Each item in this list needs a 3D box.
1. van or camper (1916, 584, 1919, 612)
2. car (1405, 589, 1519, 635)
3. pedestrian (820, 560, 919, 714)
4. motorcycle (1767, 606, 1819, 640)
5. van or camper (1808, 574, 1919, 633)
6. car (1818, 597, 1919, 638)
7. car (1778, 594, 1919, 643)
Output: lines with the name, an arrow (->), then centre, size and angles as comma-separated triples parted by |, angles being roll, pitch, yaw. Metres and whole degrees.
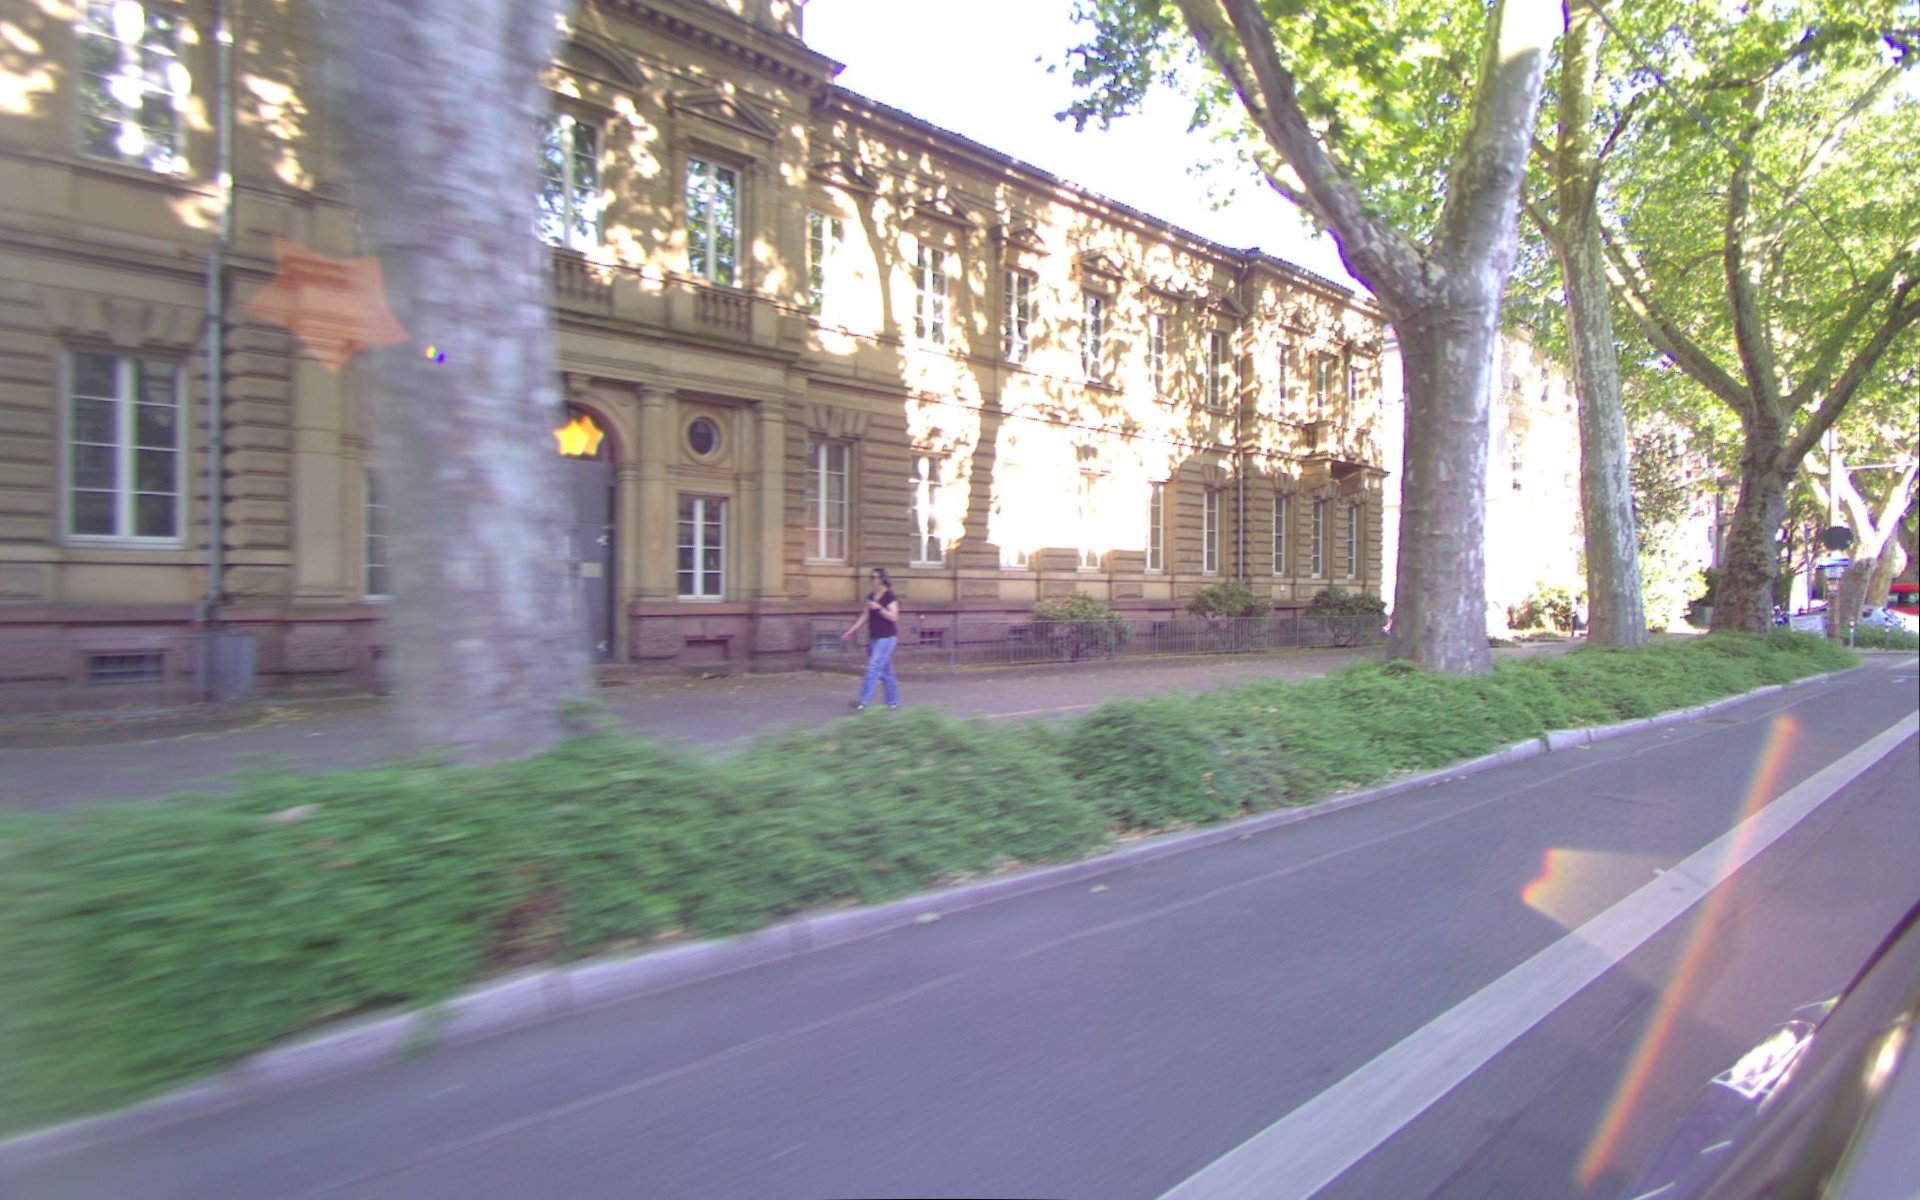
van or camper -> 85.701, -0.157, 86.161 | 2.386, 2.461, 6.094 | 0, 1, -41
car -> 19.266, 0.422, 38.957 | 1.707, 1.562, 3.568 | -3, 3, -41
pedestrian -> -1.081, 0.419, 12.107 | 0.990, 1.758, 0.651 | 0, 0, -42
motorcycle -> 27.122, 0.746, 32.976 | 1.252, 1.067, 0.394 | 1, 0, 12
van or camper -> 42.387, 0.110, 45.866 | 2.185, 2.528, 5.918 | -3, 3, -43
car -> 36.046, 0.668, 39.567 | 1.588, 1.435, 3.673 | -3, 3, -41
car -> 31.995, 0.622, 36.523 | 1.588, 1.562, 3.673 | -3, 3, -41
